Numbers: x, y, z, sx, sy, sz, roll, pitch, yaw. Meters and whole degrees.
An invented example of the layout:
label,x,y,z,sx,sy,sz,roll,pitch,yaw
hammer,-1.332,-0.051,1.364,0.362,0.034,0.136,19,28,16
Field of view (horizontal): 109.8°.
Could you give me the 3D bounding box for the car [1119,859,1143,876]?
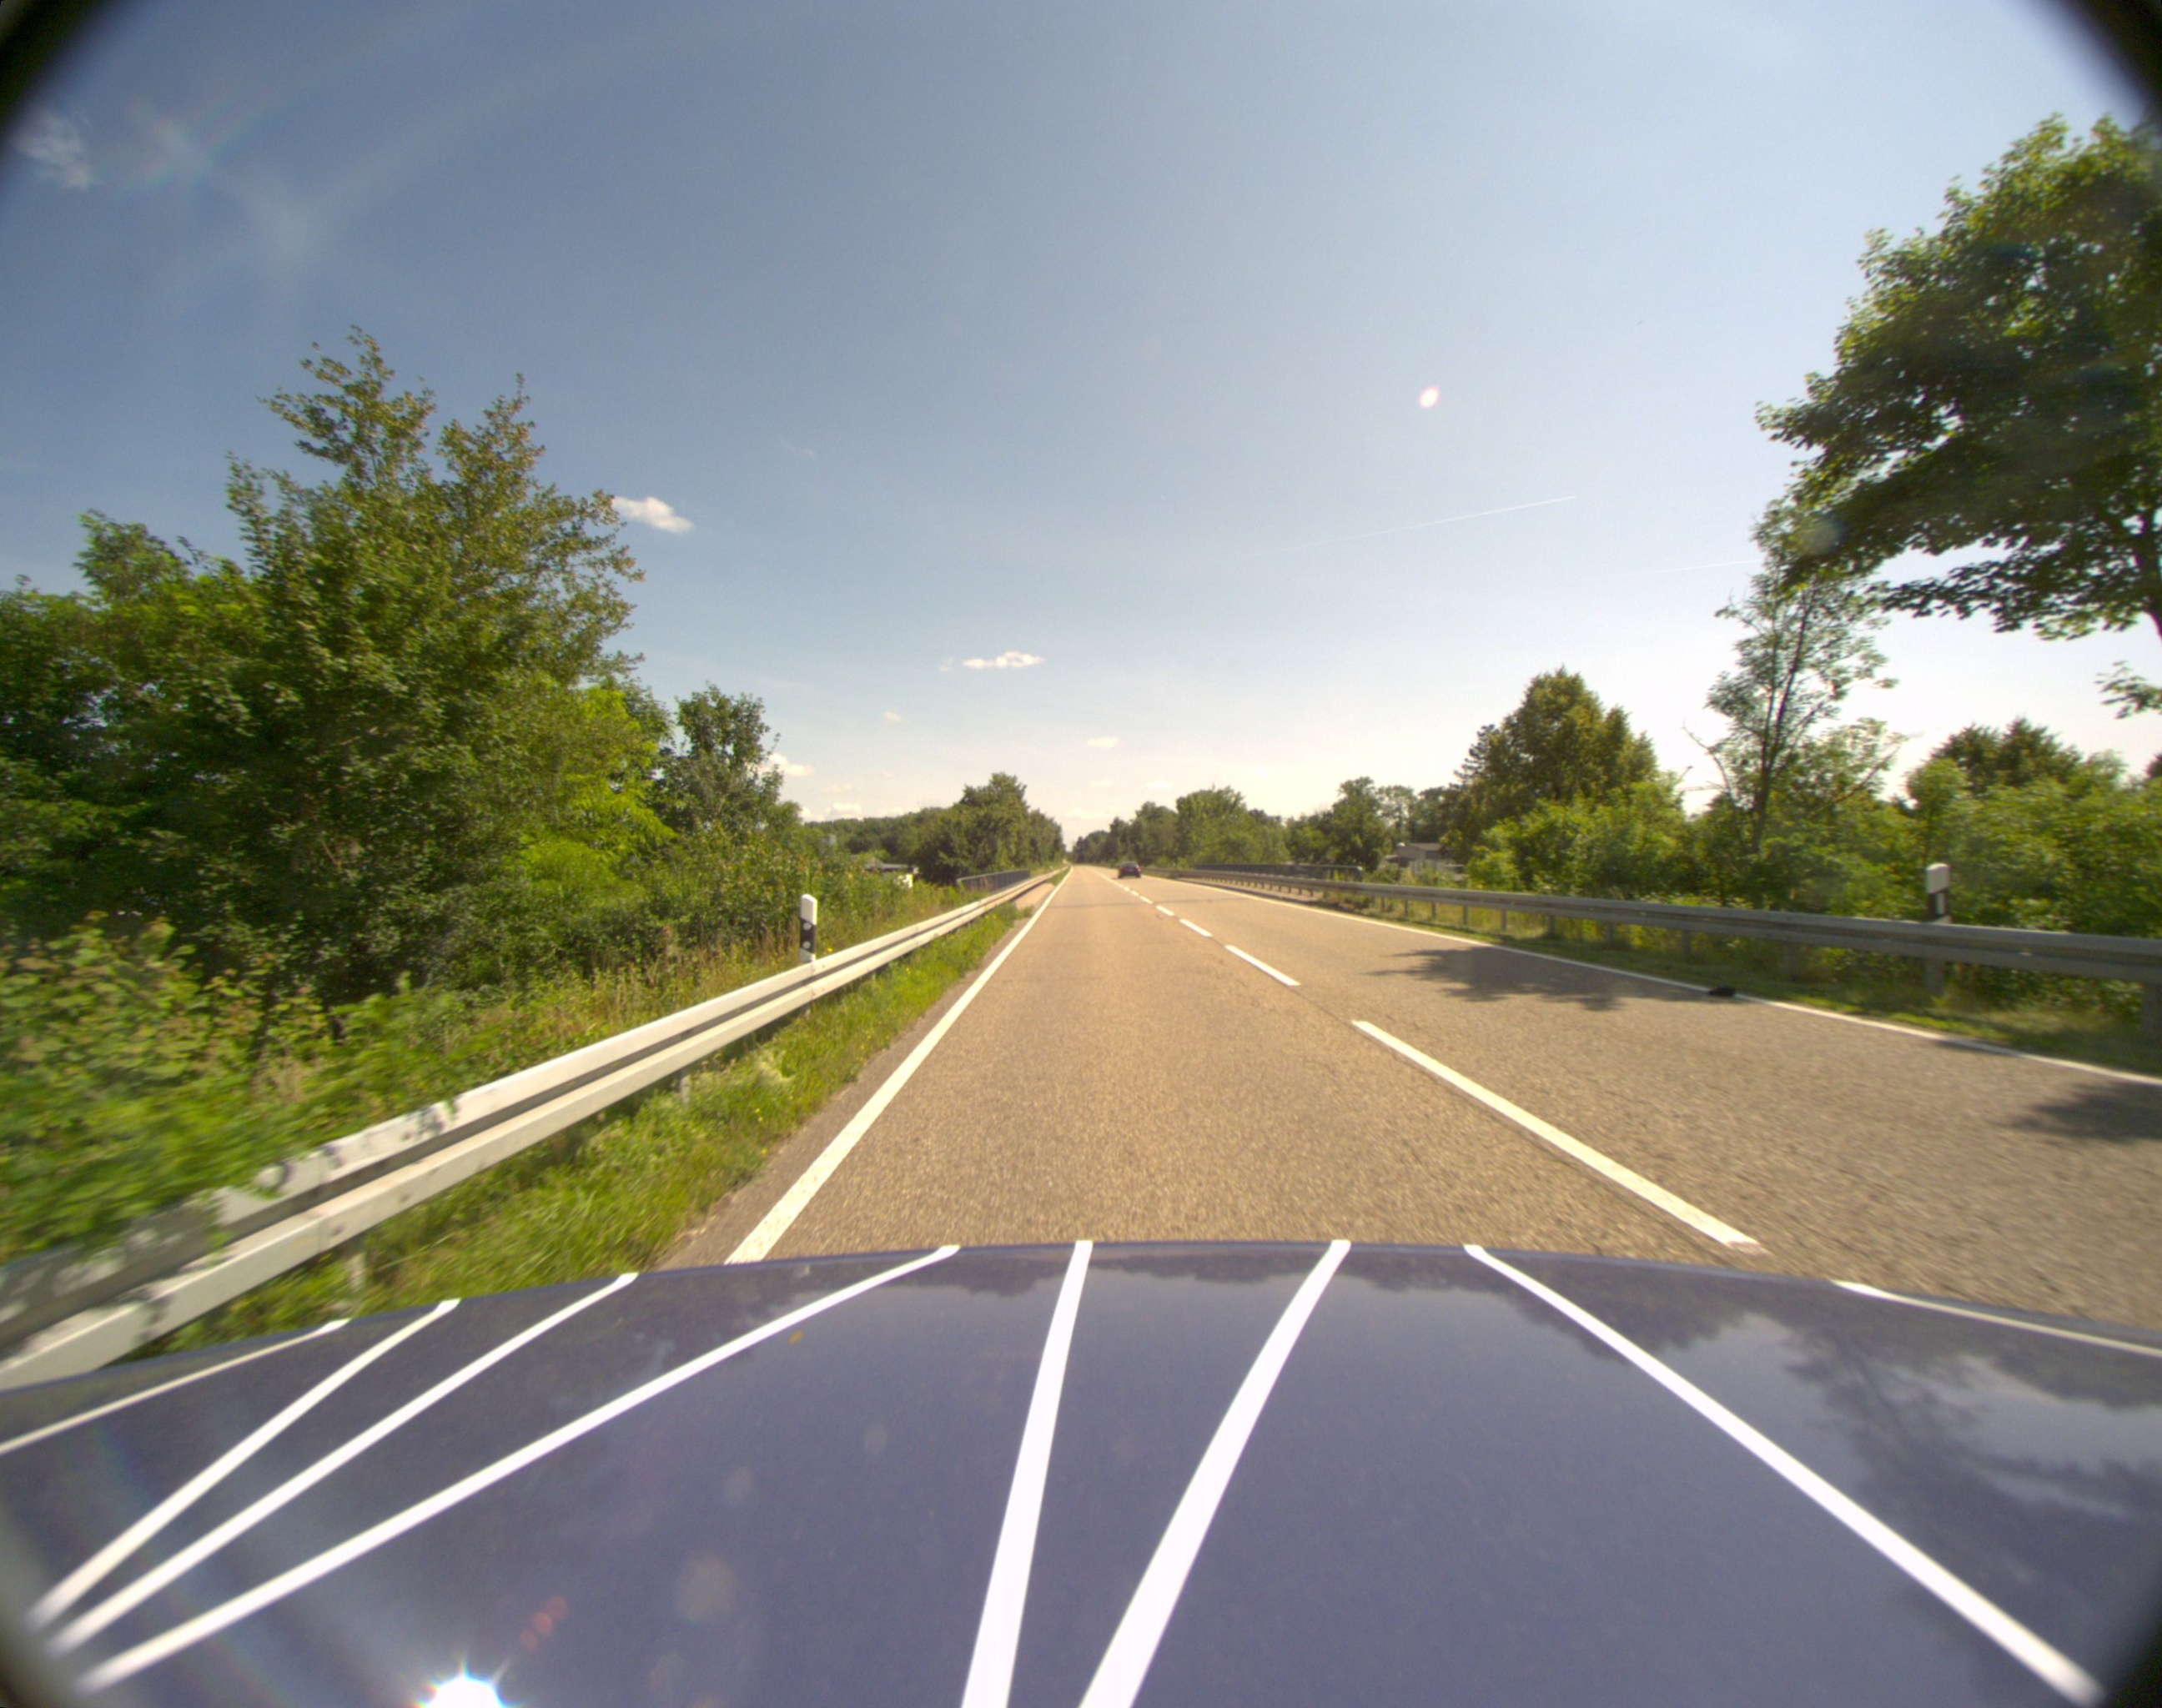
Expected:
label,x,y,z,sx,sy,sz,roll,pitch,yaw
car,4.410,1.171,67.523,1.750,1.416,4.677,-2,0,0
